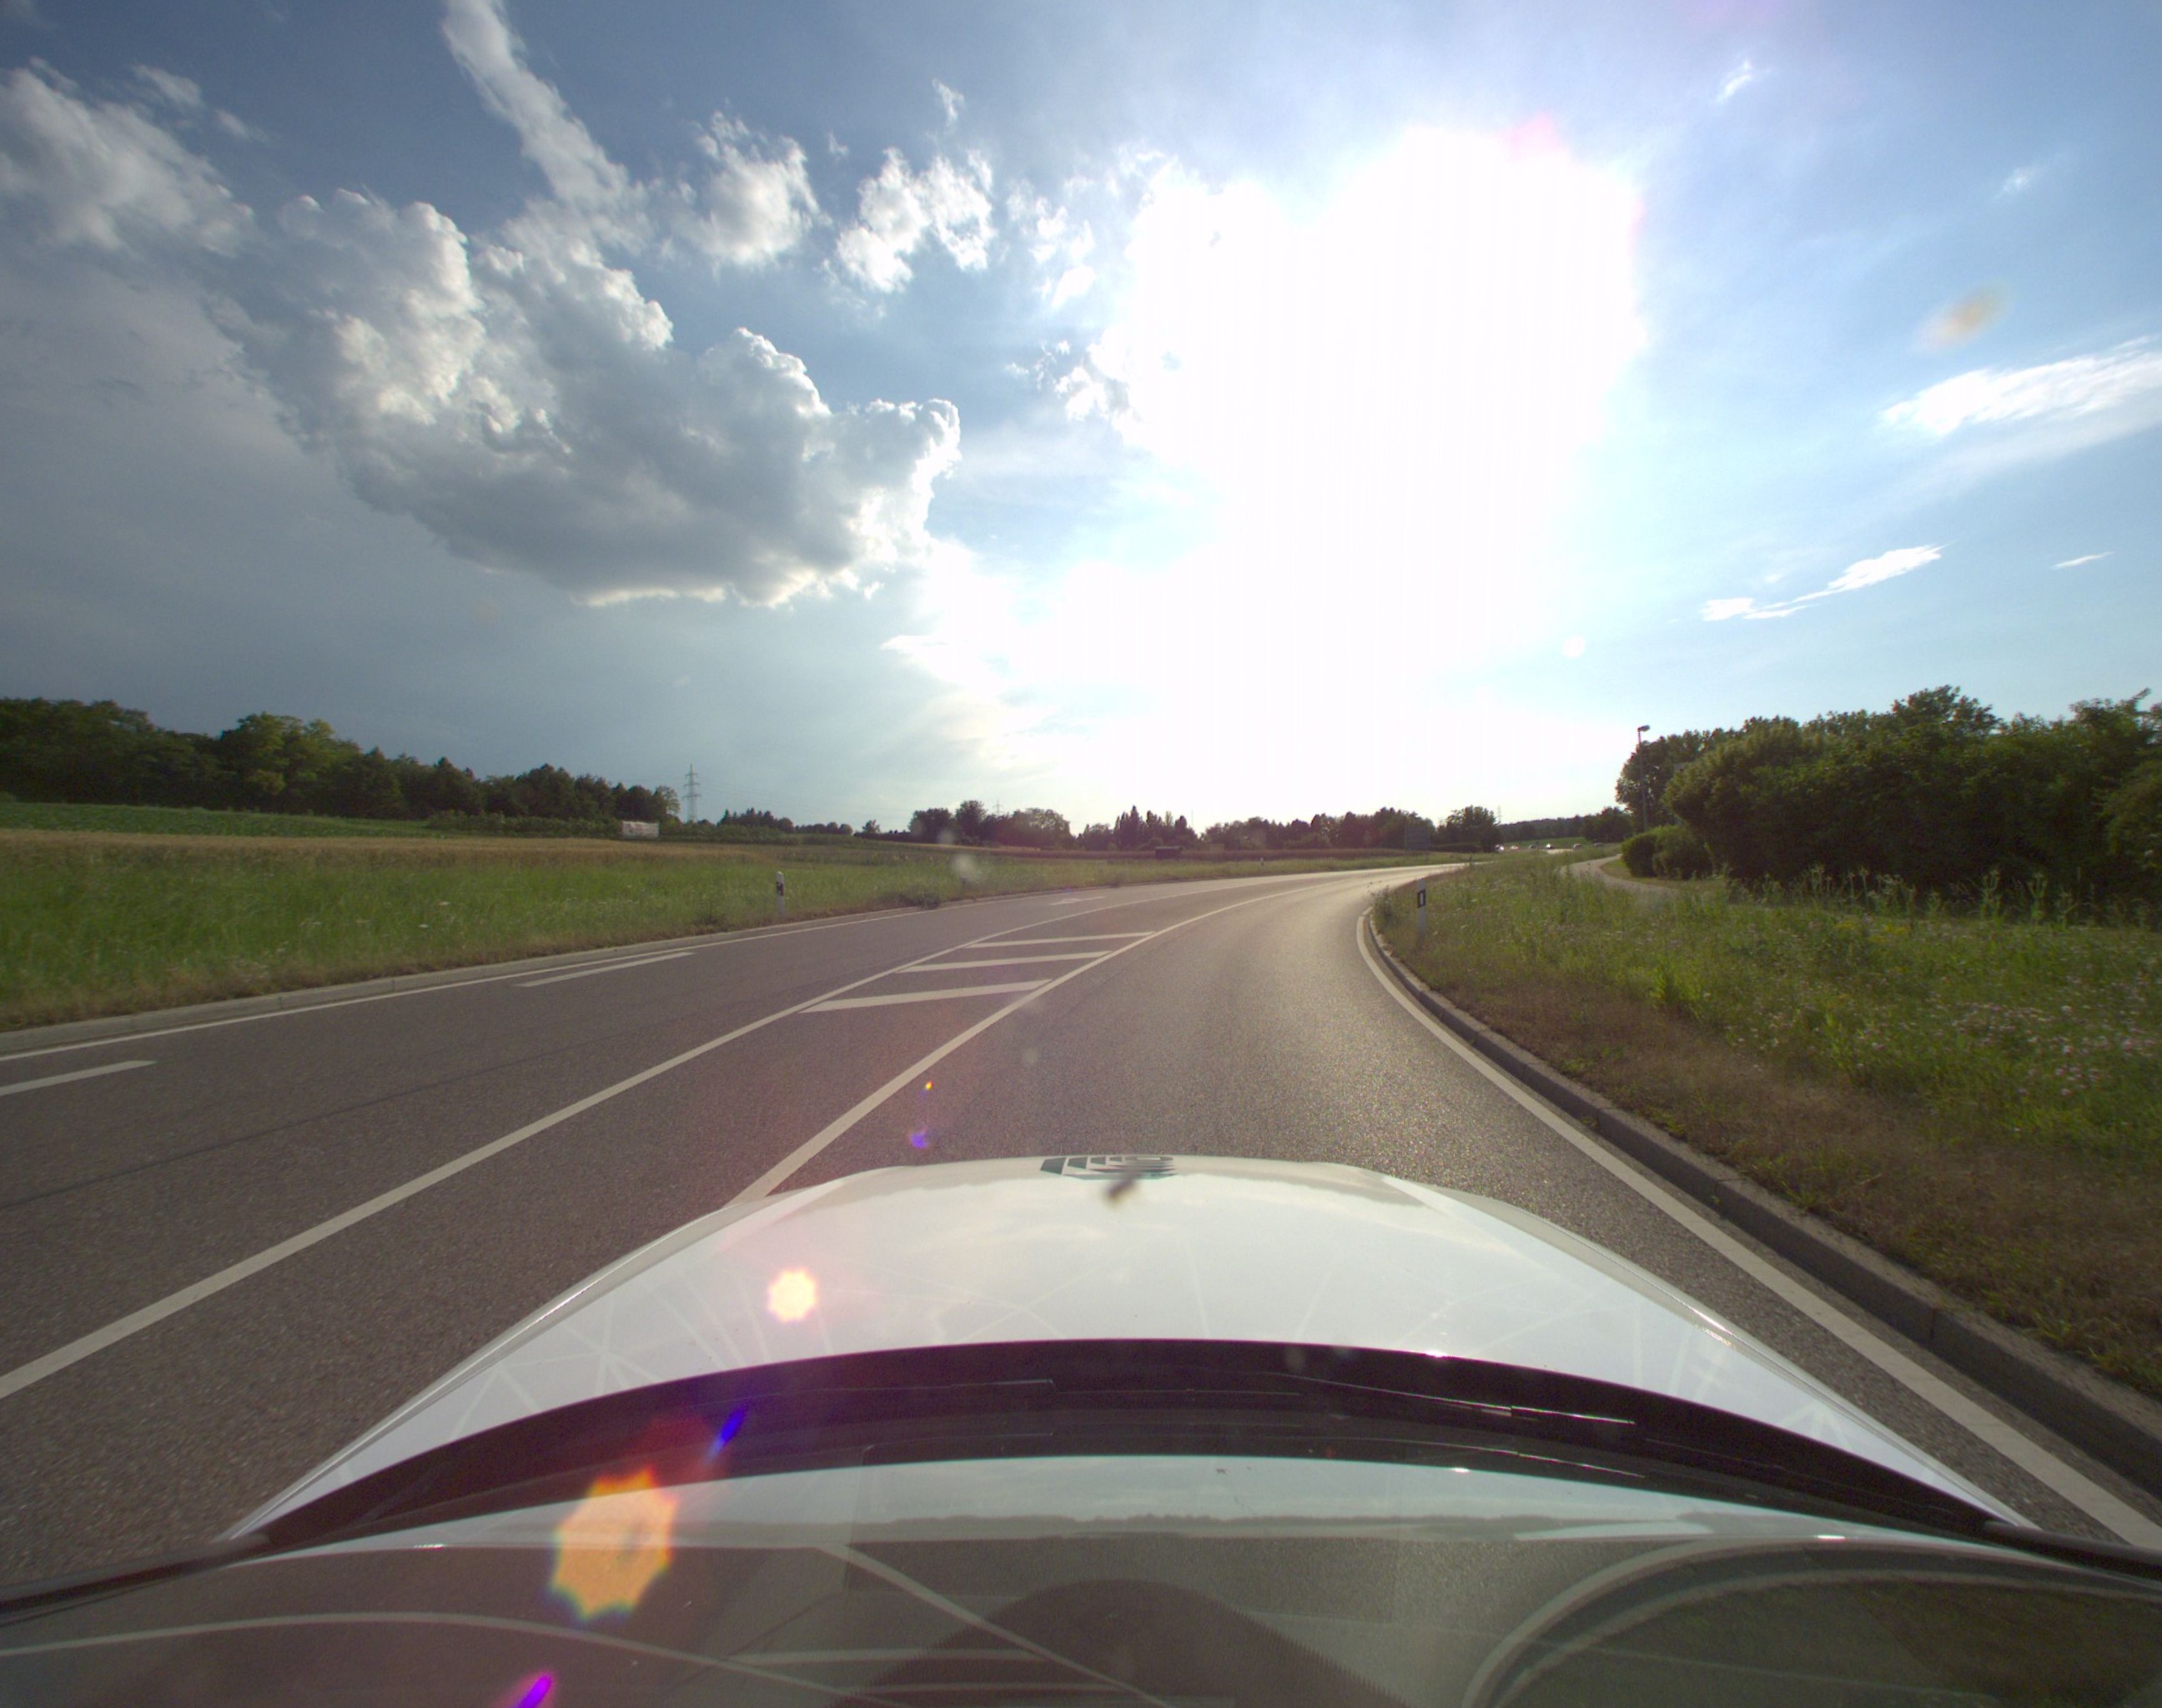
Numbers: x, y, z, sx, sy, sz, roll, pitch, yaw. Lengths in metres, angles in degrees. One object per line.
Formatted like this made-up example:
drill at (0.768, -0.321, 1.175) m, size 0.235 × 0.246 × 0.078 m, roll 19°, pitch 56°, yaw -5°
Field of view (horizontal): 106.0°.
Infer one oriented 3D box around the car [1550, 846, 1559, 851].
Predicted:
car at (131.182, -1.530, 225.510) m, size 1.834 × 1.408 × 3.394 m, roll 0°, pitch 0°, yaw 25°

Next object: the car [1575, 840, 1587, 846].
car at (117.303, -2.497, 191.107) m, size 1.834 × 1.408 × 3.665 m, roll 0°, pitch 0°, yaw 25°
